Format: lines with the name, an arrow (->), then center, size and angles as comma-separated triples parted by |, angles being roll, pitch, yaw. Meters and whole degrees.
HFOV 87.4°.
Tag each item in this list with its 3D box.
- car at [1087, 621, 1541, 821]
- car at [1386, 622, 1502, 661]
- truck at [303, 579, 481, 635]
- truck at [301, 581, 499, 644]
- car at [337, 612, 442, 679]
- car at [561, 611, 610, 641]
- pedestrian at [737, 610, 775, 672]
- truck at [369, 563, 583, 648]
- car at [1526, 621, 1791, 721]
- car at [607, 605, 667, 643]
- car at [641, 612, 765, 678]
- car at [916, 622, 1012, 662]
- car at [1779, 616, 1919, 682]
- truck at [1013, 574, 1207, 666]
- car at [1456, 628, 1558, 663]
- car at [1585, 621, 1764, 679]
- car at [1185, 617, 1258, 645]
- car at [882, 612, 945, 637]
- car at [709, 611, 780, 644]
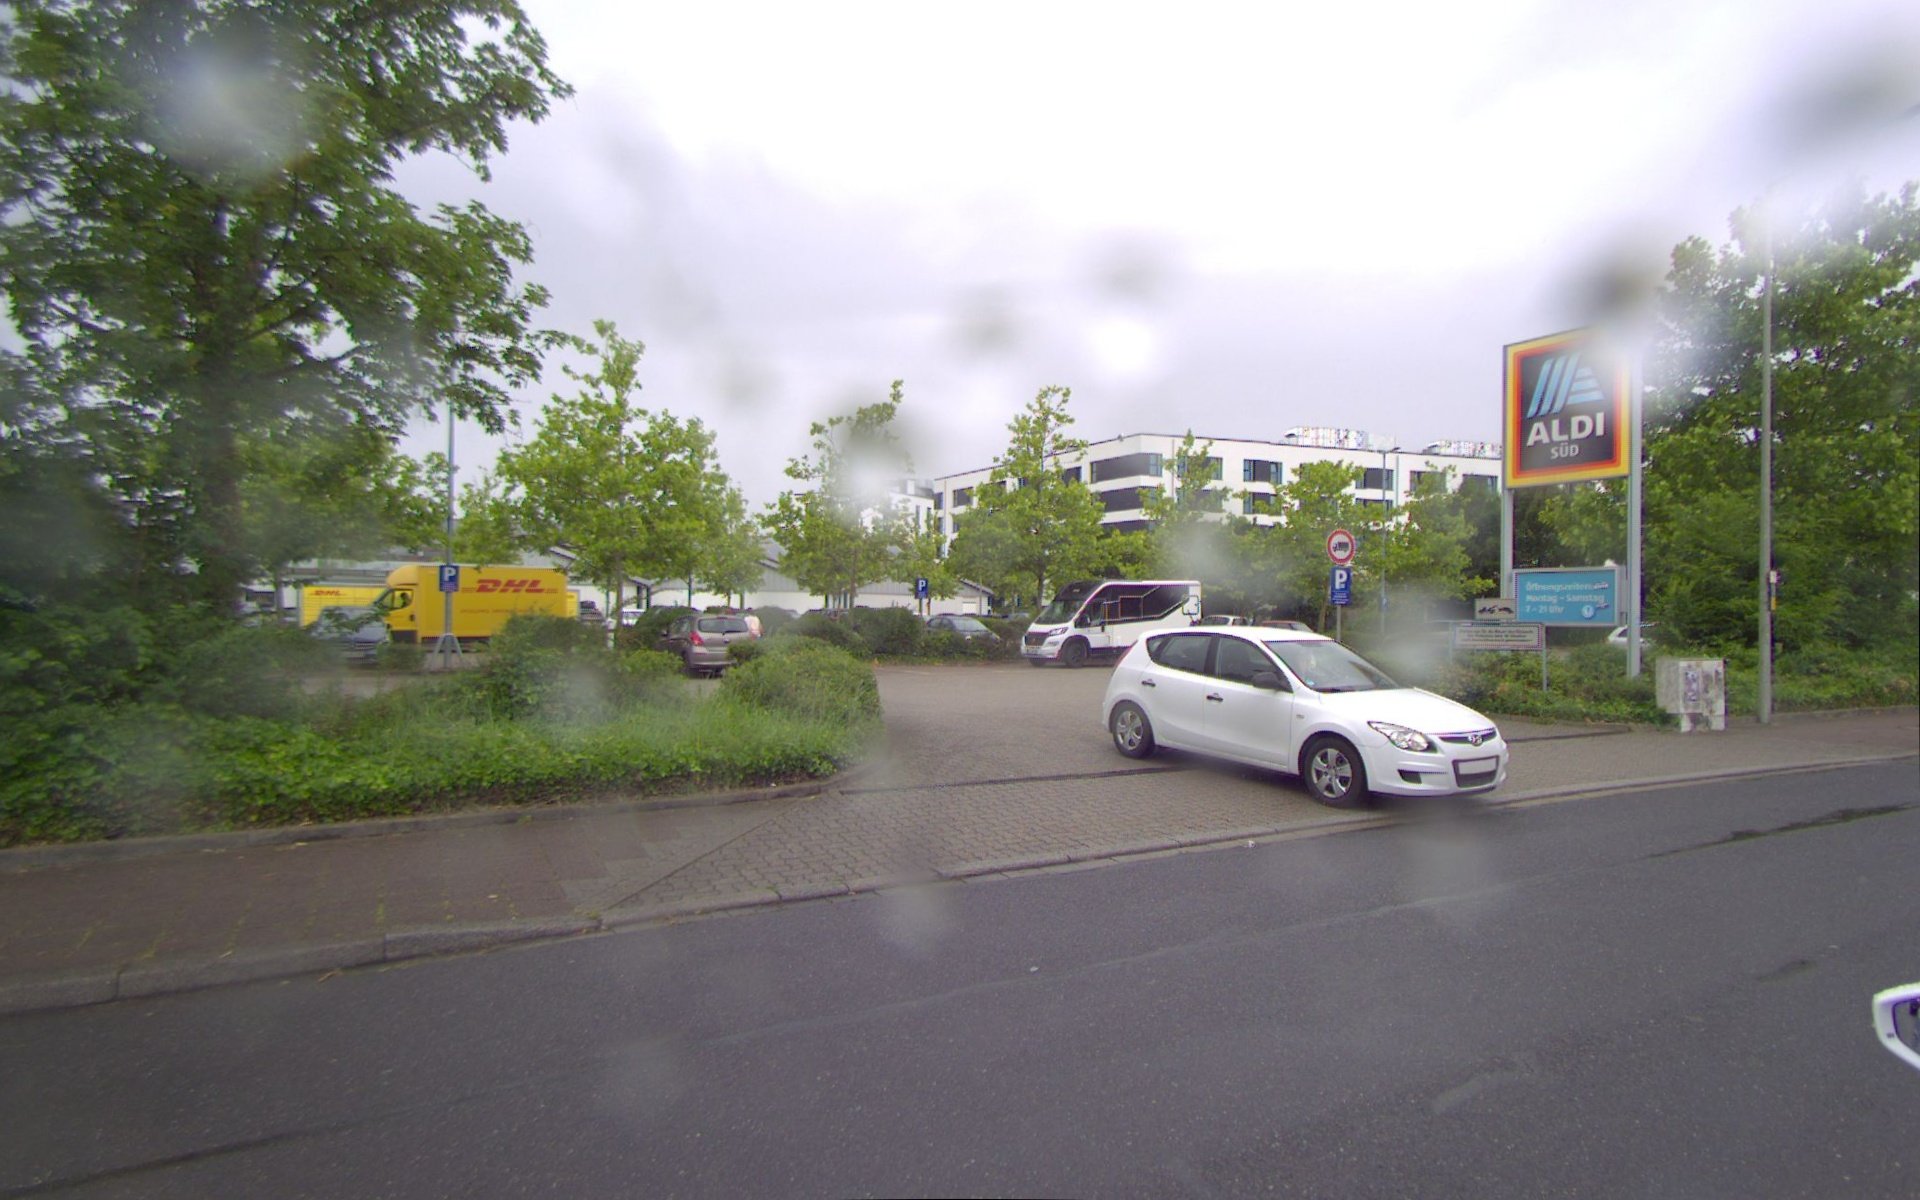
car -> 3.295, 1.010, 10.174 | 1.694, 1.479, 4.165 | 1, 0, -33
car -> 20.067, 1.685, 41.772 | 1.976, 1.519, 3.970 | 1, -1, -29
truck -> -22.607, 0.324, 40.130 | 6.070, 2.087, 1.981 | 1, -1, -34
truck -> -20.068, 0.494, 36.151 | 6.070, 2.122, 1.981 | 1, -1, -34
car -> -13.452, 1.019, 23.886 | 1.975, 1.439, 3.972 | 1, -1, -27
car -> -20.509, 1.412, 54.971 | 1.976, 1.542, 3.970 | 1, -1, -29
pedestrian -> -5.515, 1.092, 27.123 | 0.762, 1.656, 0.771 | 1, -1, -34
truck -> -16.165, 0.241, 33.772 | 6.320, 2.636, 1.984 | 1, -1, -30
car -> 12.575, 1.208, 18.299 | 1.692, 1.479, 3.553 | 1, 1, -29
car -> -15.218, 1.109, 47.229 | 1.835, 1.692, 3.966 | 1, -1, -31
car -> -6.389, 1.044, 24.661 | 1.694, 1.479, 4.165 | 1, -1, -33
car -> 0.080, 1.463, 36.073 | 1.736, 1.320, 3.970 | 1, -1, -29
car -> 23.644, 1.224, 25.549 | 1.888, 1.561, 3.968 | 1, -1, -30
truck -> 4.849, 0.666, 31.914 | 6.326, 2.692, 1.983 | 1, -1, -32
car -> 26.536, 2.188, 48.856 | 1.976, 1.549, 3.970 | 1, -1, -29
car -> 21.362, 1.459, 30.190 | 1.888, 1.561, 3.968 | 1, -1, -30
car -> 15.230, 1.802, 58.735 | 1.976, 1.549, 3.970 | 1, -1, -29
car -> -2.650, 1.363, 56.159 | 1.976, 1.363, 3.970 | 1, -1, -29
car -> -9.364, 1.161, 43.431 | 1.976, 1.363, 3.970 | 1, -1, -29
